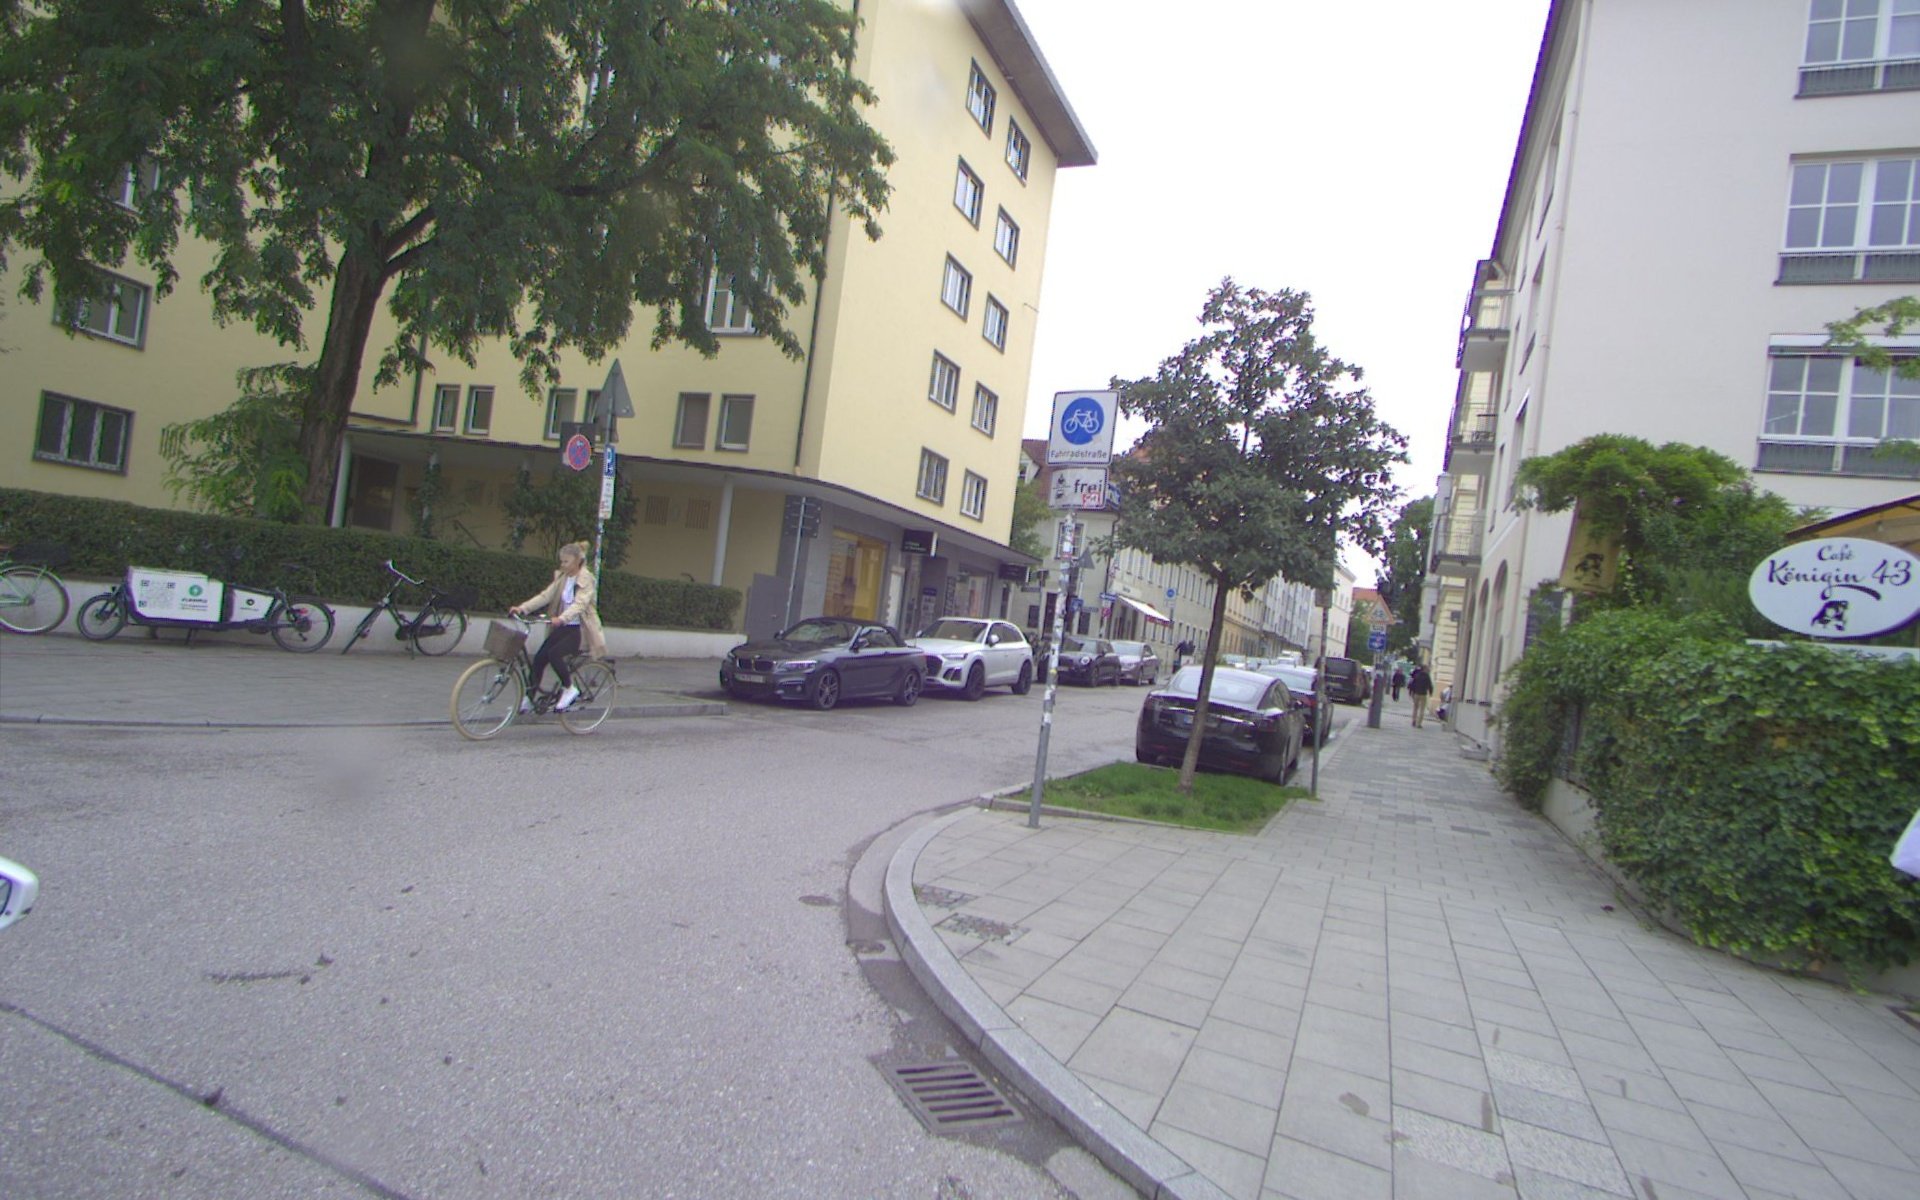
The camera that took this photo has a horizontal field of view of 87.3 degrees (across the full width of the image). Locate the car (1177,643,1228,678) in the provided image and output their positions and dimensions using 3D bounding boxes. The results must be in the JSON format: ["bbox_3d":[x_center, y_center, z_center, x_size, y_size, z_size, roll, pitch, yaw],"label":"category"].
[{"bbox_3d":[12.005,2.998,49.670,1.710,1.439,4.000,7,-1,22],"label":"car"}]

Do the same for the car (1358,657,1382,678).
[{"bbox_3d":[34.200,5.590,83.961,1.673,1.526,3.998,7,0,23],"label":"car"}]

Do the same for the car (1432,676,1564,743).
[{"bbox_3d":[16.770,3.391,31.529,3.420,1.548,1.575,7,0,26],"label":"car"}]

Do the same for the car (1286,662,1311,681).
[{"bbox_3d":[32.126,6.806,95.426,1.673,1.526,3.997,7,0,24],"label":"car"}]

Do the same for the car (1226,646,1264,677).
[{"bbox_3d":[17.713,3.835,62.496,1.757,1.682,4.001,7,-1,21],"label":"car"}]

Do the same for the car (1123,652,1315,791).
[{"bbox_3d":[3.882,1.625,14.456,1.934,1.415,4.505,7,-1,22],"label":"car"}]

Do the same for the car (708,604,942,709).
[{"bbox_3d":[-2.036,0.964,16.576,1.633,1.383,4.332,4,-2,26],"label":"car"}]

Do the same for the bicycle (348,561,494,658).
[{"bbox_3d":[-7.117,0.162,13.370,0.452,1.144,1.687,7,-1,23],"label":"bicycle"}]

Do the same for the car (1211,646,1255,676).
[{"bbox_3d":[15.830,3.542,58.177,1.757,1.431,4.000,7,-1,23],"label":"car"}]

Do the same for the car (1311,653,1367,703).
[{"bbox_3d":[16.060,3.286,42.528,1.787,1.796,3.999,7,-1,25],"label":"car"}]

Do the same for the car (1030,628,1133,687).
[{"bbox_3d":[3.689,1.749,29.987,1.793,1.417,3.999,7,-1,24],"label":"car"}]

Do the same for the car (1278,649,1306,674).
[{"bbox_3d":[26.880,4.991,81.384,1.757,1.682,4.001,7,-1,21],"label":"car"}]

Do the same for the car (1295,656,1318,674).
[{"bbox_3d":[34.747,6.494,100.778,1.743,1.616,3.998,8,0,23],"label":"car"}]

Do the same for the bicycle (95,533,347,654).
[{"bbox_3d":[-8.432,-0.038,11.579,0.631,1.129,2.166,7,-1,40],"label":"bicycle"}]

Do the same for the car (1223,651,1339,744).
[{"bbox_3d":[6.828,2.008,21.146,1.693,1.548,3.999,7,-1,25],"label":"car"}]

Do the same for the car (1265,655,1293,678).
[{"bbox_3d":[23.989,4.978,75.593,1.662,1.426,3.502,7,0,21],"label":"car"}]

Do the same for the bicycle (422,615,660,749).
[{"bbox_3d":[-3.801,0.755,9.317,0.673,1.036,1.965,7,-1,28],"label":"bicycle"}]

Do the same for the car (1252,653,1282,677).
[{"bbox_3d":[21.789,4.601,71.276,1.662,1.426,3.502,7,0,21],"label":"car"}]

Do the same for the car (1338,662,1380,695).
[{"bbox_3d":[22.252,4.342,55.969,1.797,1.536,4.237,7,0,25],"label":"car"}]

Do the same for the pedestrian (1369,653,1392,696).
[{"bbox_3d":[20.895,3.707,50.003,0.773,2.038,0.832,7,0,19],"label":"pedestrian"}]

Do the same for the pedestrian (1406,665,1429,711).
[{"bbox_3d":[21.522,4.148,47.348,0.742,2.038,0.831,7,0,24],"label":"pedestrian"}]

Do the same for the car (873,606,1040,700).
[{"bbox_3d":[0.049,1.100,21.404,1.825,1.682,4.316,4,-1,25],"label":"car"}]

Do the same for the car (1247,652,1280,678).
[{"bbox_3d":[20.265,4.317,67.135,1.662,1.426,3.999,7,0,21],"label":"car"}]

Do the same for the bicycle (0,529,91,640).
[{"bbox_3d":[-10.316,-0.223,10.366,1.923,1.098,0.526,6,0,-23],"label":"bicycle"}]

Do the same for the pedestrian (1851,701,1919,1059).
[{"bbox_3d":[5.014,1.355,4.795,0.815,1.626,0.808,6,0,25],"label":"pedestrian"}]

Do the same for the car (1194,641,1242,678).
[{"bbox_3d":[13.931,3.212,54.189,1.757,1.682,4.000,7,-1,23],"label":"car"}]

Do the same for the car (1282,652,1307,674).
[{"bbox_3d":[28.622,5.396,86.000,1.757,1.682,4.001,7,-1,21],"label":"car"}]

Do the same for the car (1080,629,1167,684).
[{"bbox_3d":[5.551,1.928,33.799,1.792,1.548,3.999,7,-1,24],"label":"car"}]

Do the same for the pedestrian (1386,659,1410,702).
[{"bbox_3d":[21.609,3.965,49.659,0.773,2.038,0.832,7,0,19],"label":"pedestrian"}]

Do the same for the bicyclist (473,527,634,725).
[{"bbox_3d":[-3.740,0.256,9.316,0.684,1.676,1.006,7,0,28],"label":"bicyclist"}]

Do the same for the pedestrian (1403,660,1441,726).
[{"bbox_3d":[13.146,2.632,28.626,0.774,1.735,0.831,7,0,24],"label":"pedestrian"}]
